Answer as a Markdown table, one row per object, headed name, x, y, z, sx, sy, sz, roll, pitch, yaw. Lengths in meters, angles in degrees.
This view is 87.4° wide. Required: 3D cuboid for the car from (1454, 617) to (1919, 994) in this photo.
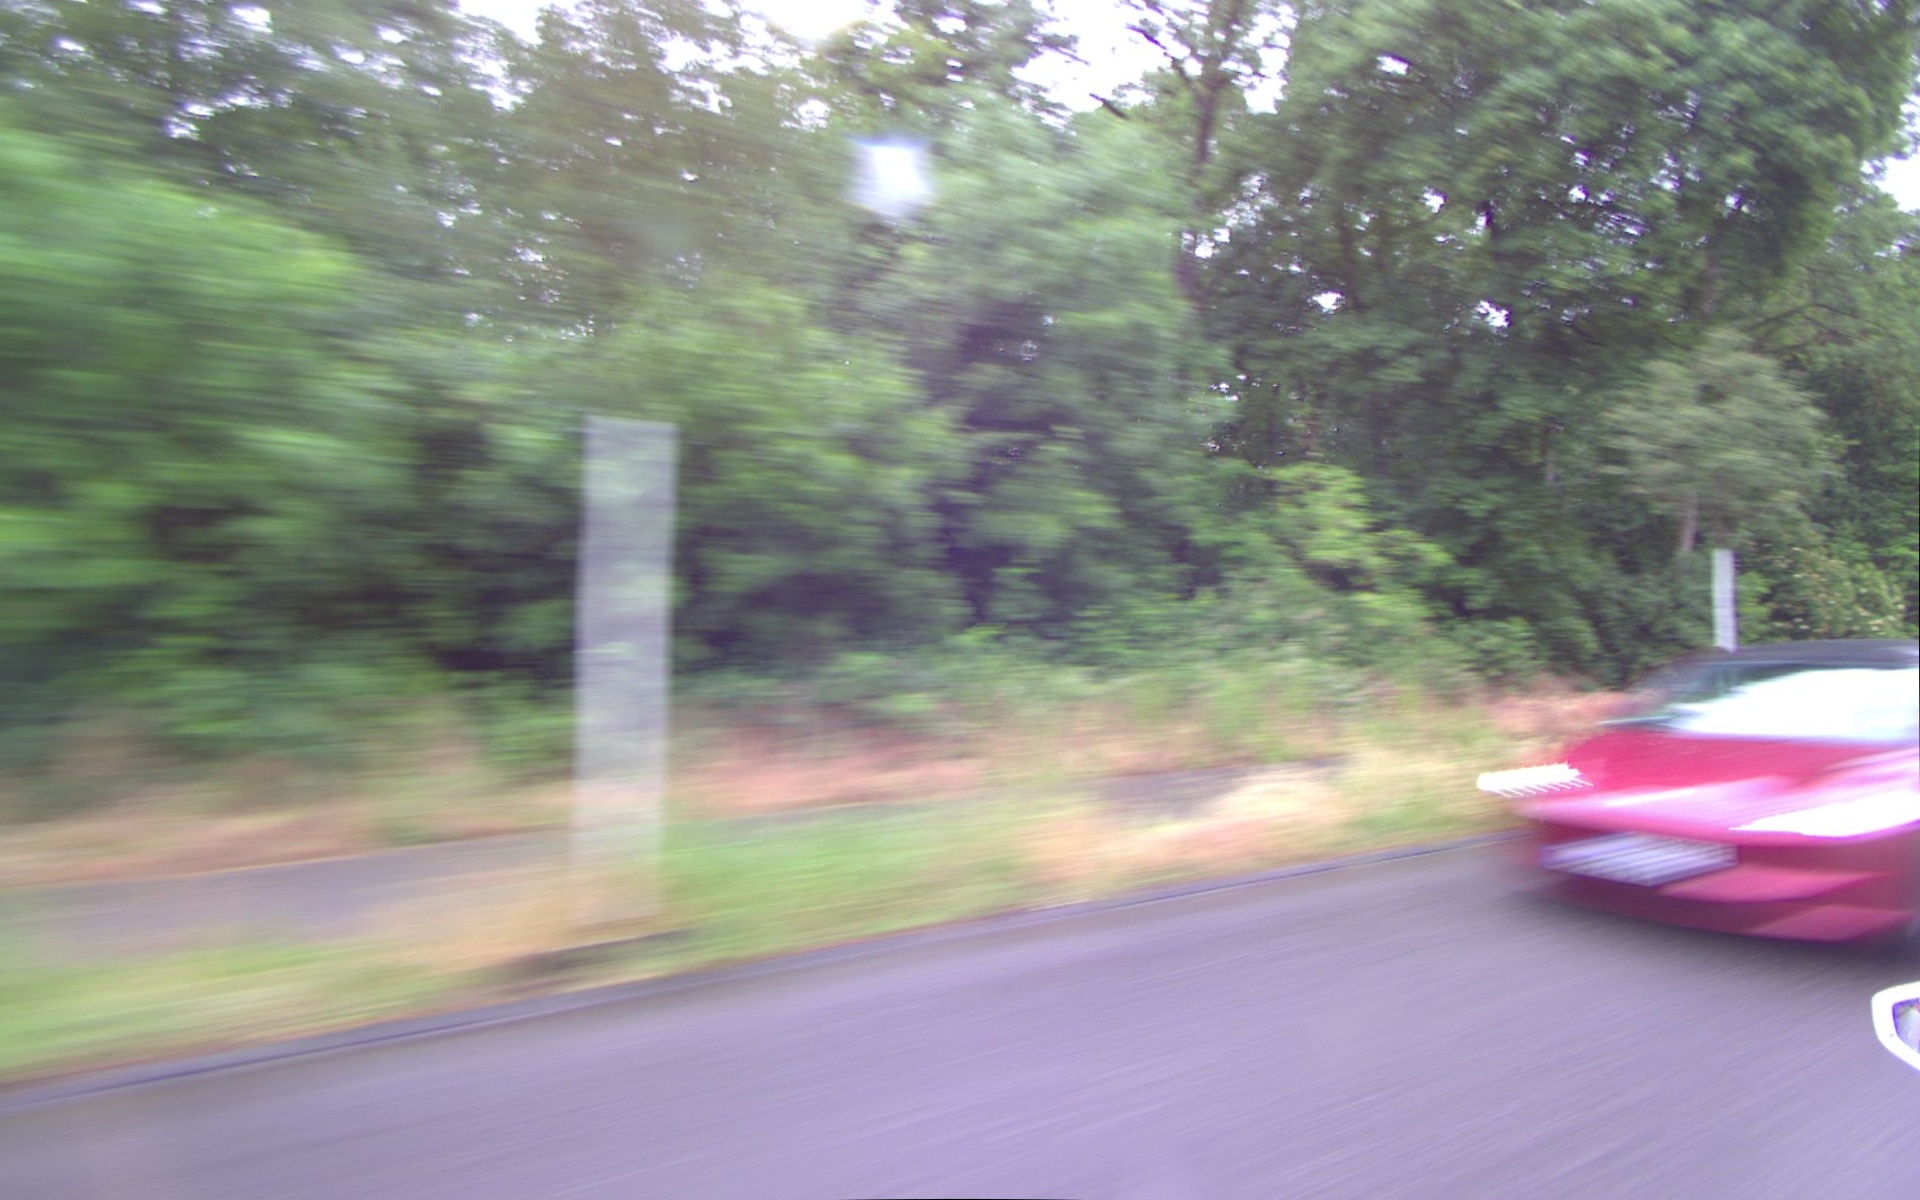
| name | x | y | z | sx | sy | sz | roll | pitch | yaw |
| --- | --- | --- | --- | --- | --- | --- | --- | --- | --- |
| car | 5.004 | 0.887 | 5.862 | 4.107 | 1.499 | 1.852 | 1 | -2 | -30 |
